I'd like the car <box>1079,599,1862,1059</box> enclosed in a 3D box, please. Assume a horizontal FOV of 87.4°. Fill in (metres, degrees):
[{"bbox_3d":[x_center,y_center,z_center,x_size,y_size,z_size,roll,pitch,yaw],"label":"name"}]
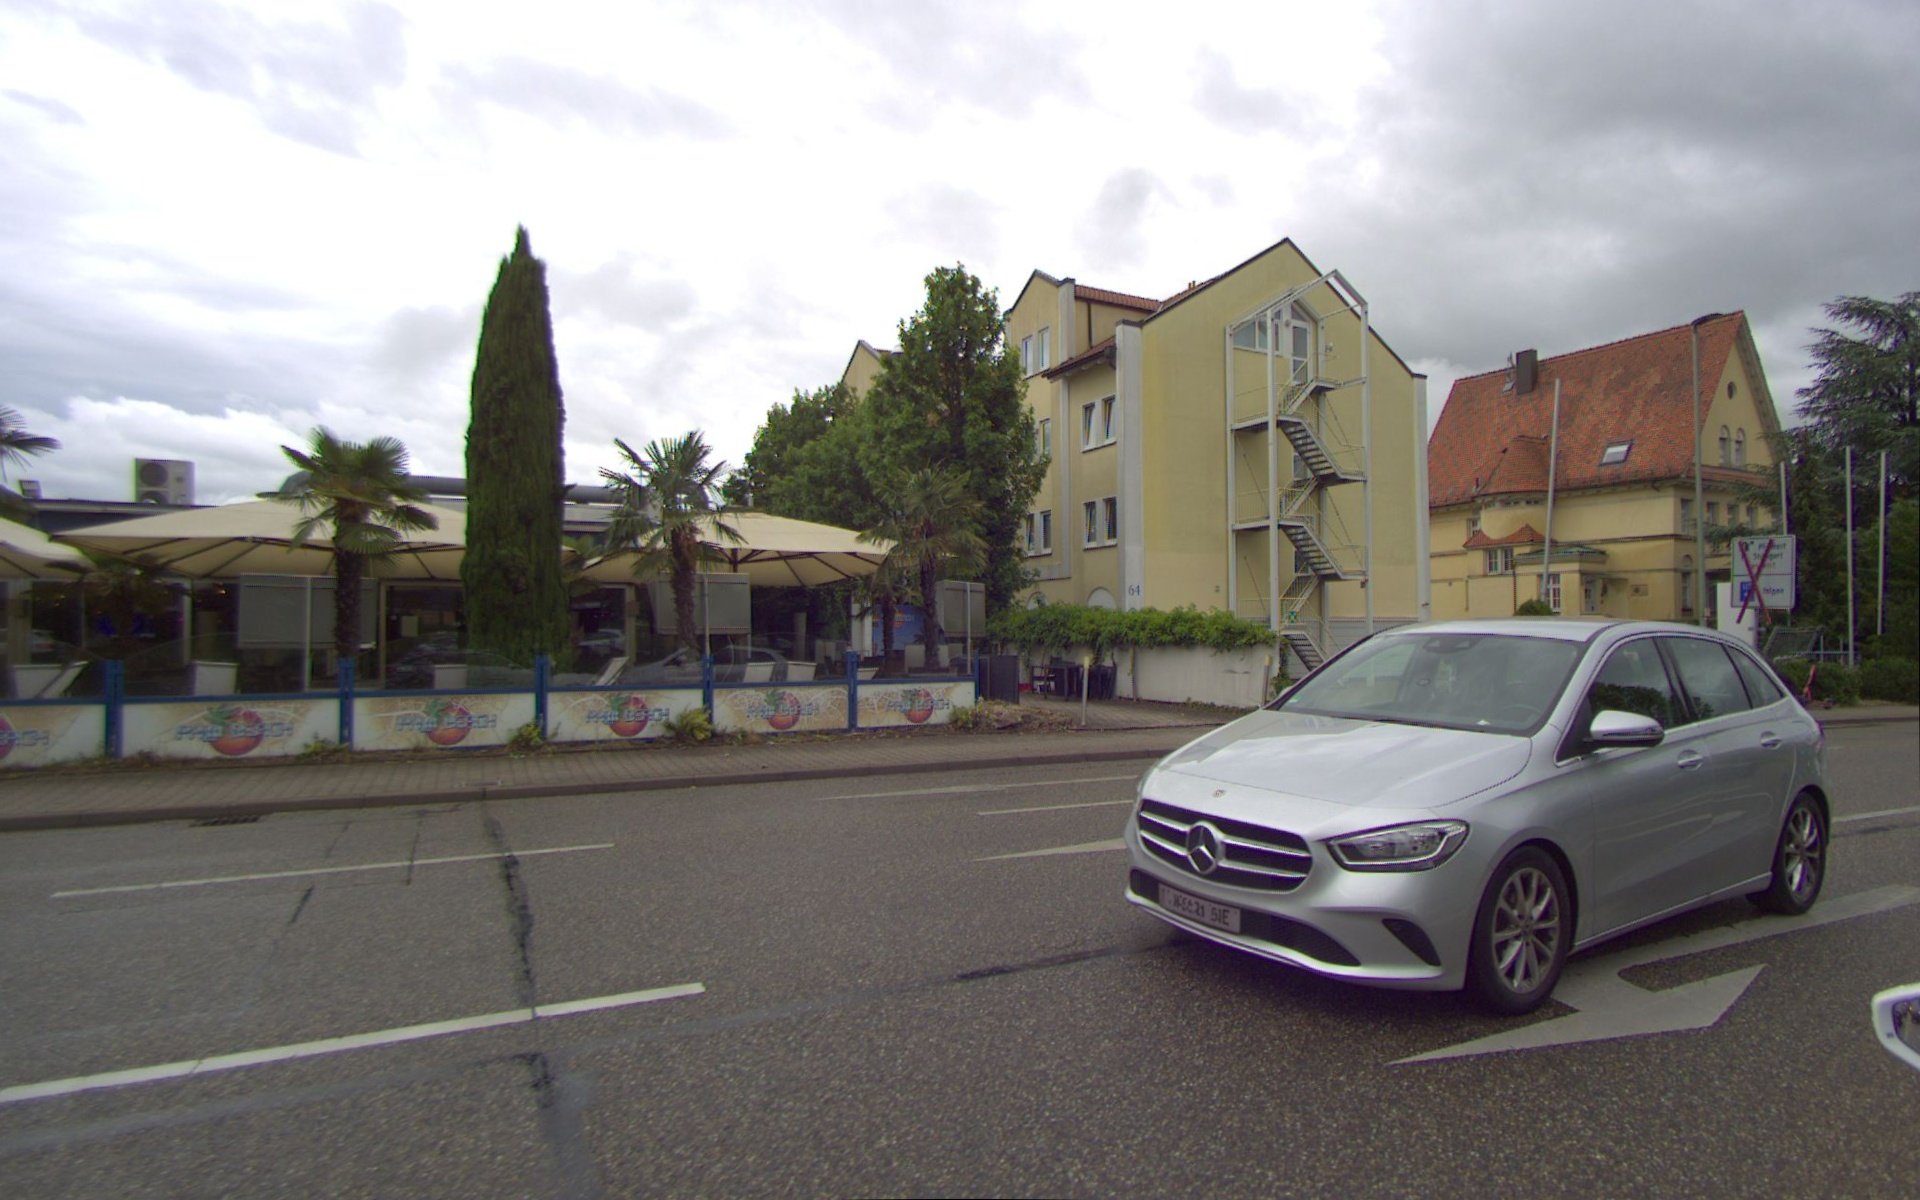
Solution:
[{"bbox_3d":[2.824,0.851,5.248,4.255,1.528,1.740,2,-3,-33],"label":"car"}]
